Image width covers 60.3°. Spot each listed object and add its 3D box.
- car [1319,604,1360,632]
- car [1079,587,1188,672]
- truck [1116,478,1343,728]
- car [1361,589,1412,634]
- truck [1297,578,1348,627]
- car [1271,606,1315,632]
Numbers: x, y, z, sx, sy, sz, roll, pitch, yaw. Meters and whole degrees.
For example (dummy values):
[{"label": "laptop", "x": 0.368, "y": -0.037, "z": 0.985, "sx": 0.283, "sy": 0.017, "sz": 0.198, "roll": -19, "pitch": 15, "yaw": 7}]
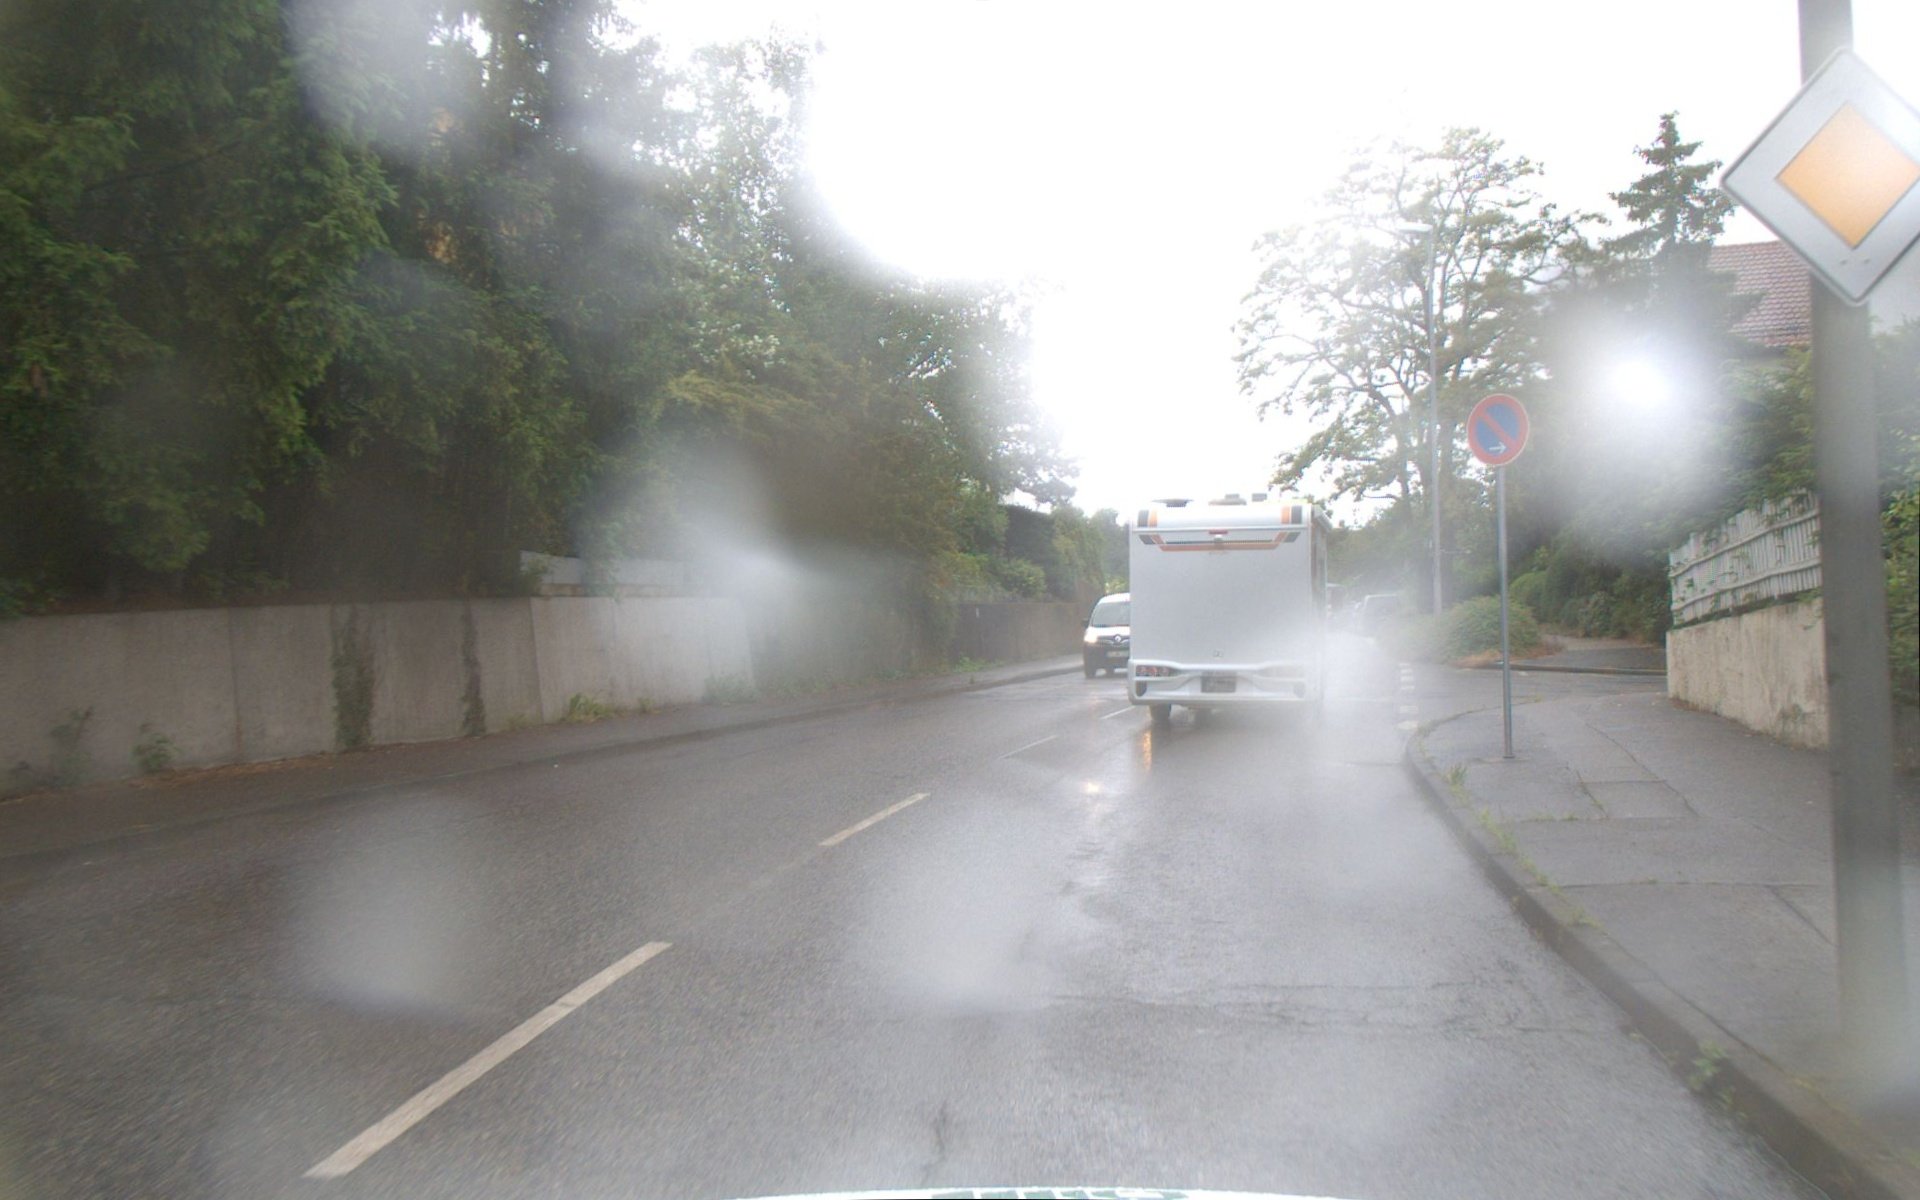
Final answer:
[{"label": "car", "x": 19.162, "y": 0.899, "z": 83.645, "sx": 1.507, "sy": 1.350, "sz": 4.003, "roll": -1, "pitch": 0, "yaw": 6}, {"label": "car", "x": 4.003, "y": 0.626, "z": 37.529, "sx": 1.801, "sy": 1.786, "sz": 4.424, "roll": 1, "pitch": 0, "yaw": 15}, {"label": "truck", "x": 3.806, "y": 0.045, "z": 22.249, "sx": 2.462, "sy": 2.867, "sz": 6.206, "roll": -1, "pitch": 0, "yaw": 14}, {"label": "car", "x": 17.753, "y": 0.507, "z": 68.771, "sx": 1.951, "sy": 1.669, "sz": 4.002, "roll": 2, "pitch": -2, "yaw": 15}, {"label": "truck", "x": 19.759, "y": 0.149, "z": 90.380, "sx": 1.952, "sy": 2.618, "sz": 4.835, "roll": 0, "pitch": 0, "yaw": 3}, {"label": "car", "x": 20.098, "y": 1.137, "z": 99.997, "sx": 1.655, "sy": 1.490, "sz": 3.381, "roll": 0, "pitch": 0, "yaw": -6}]
